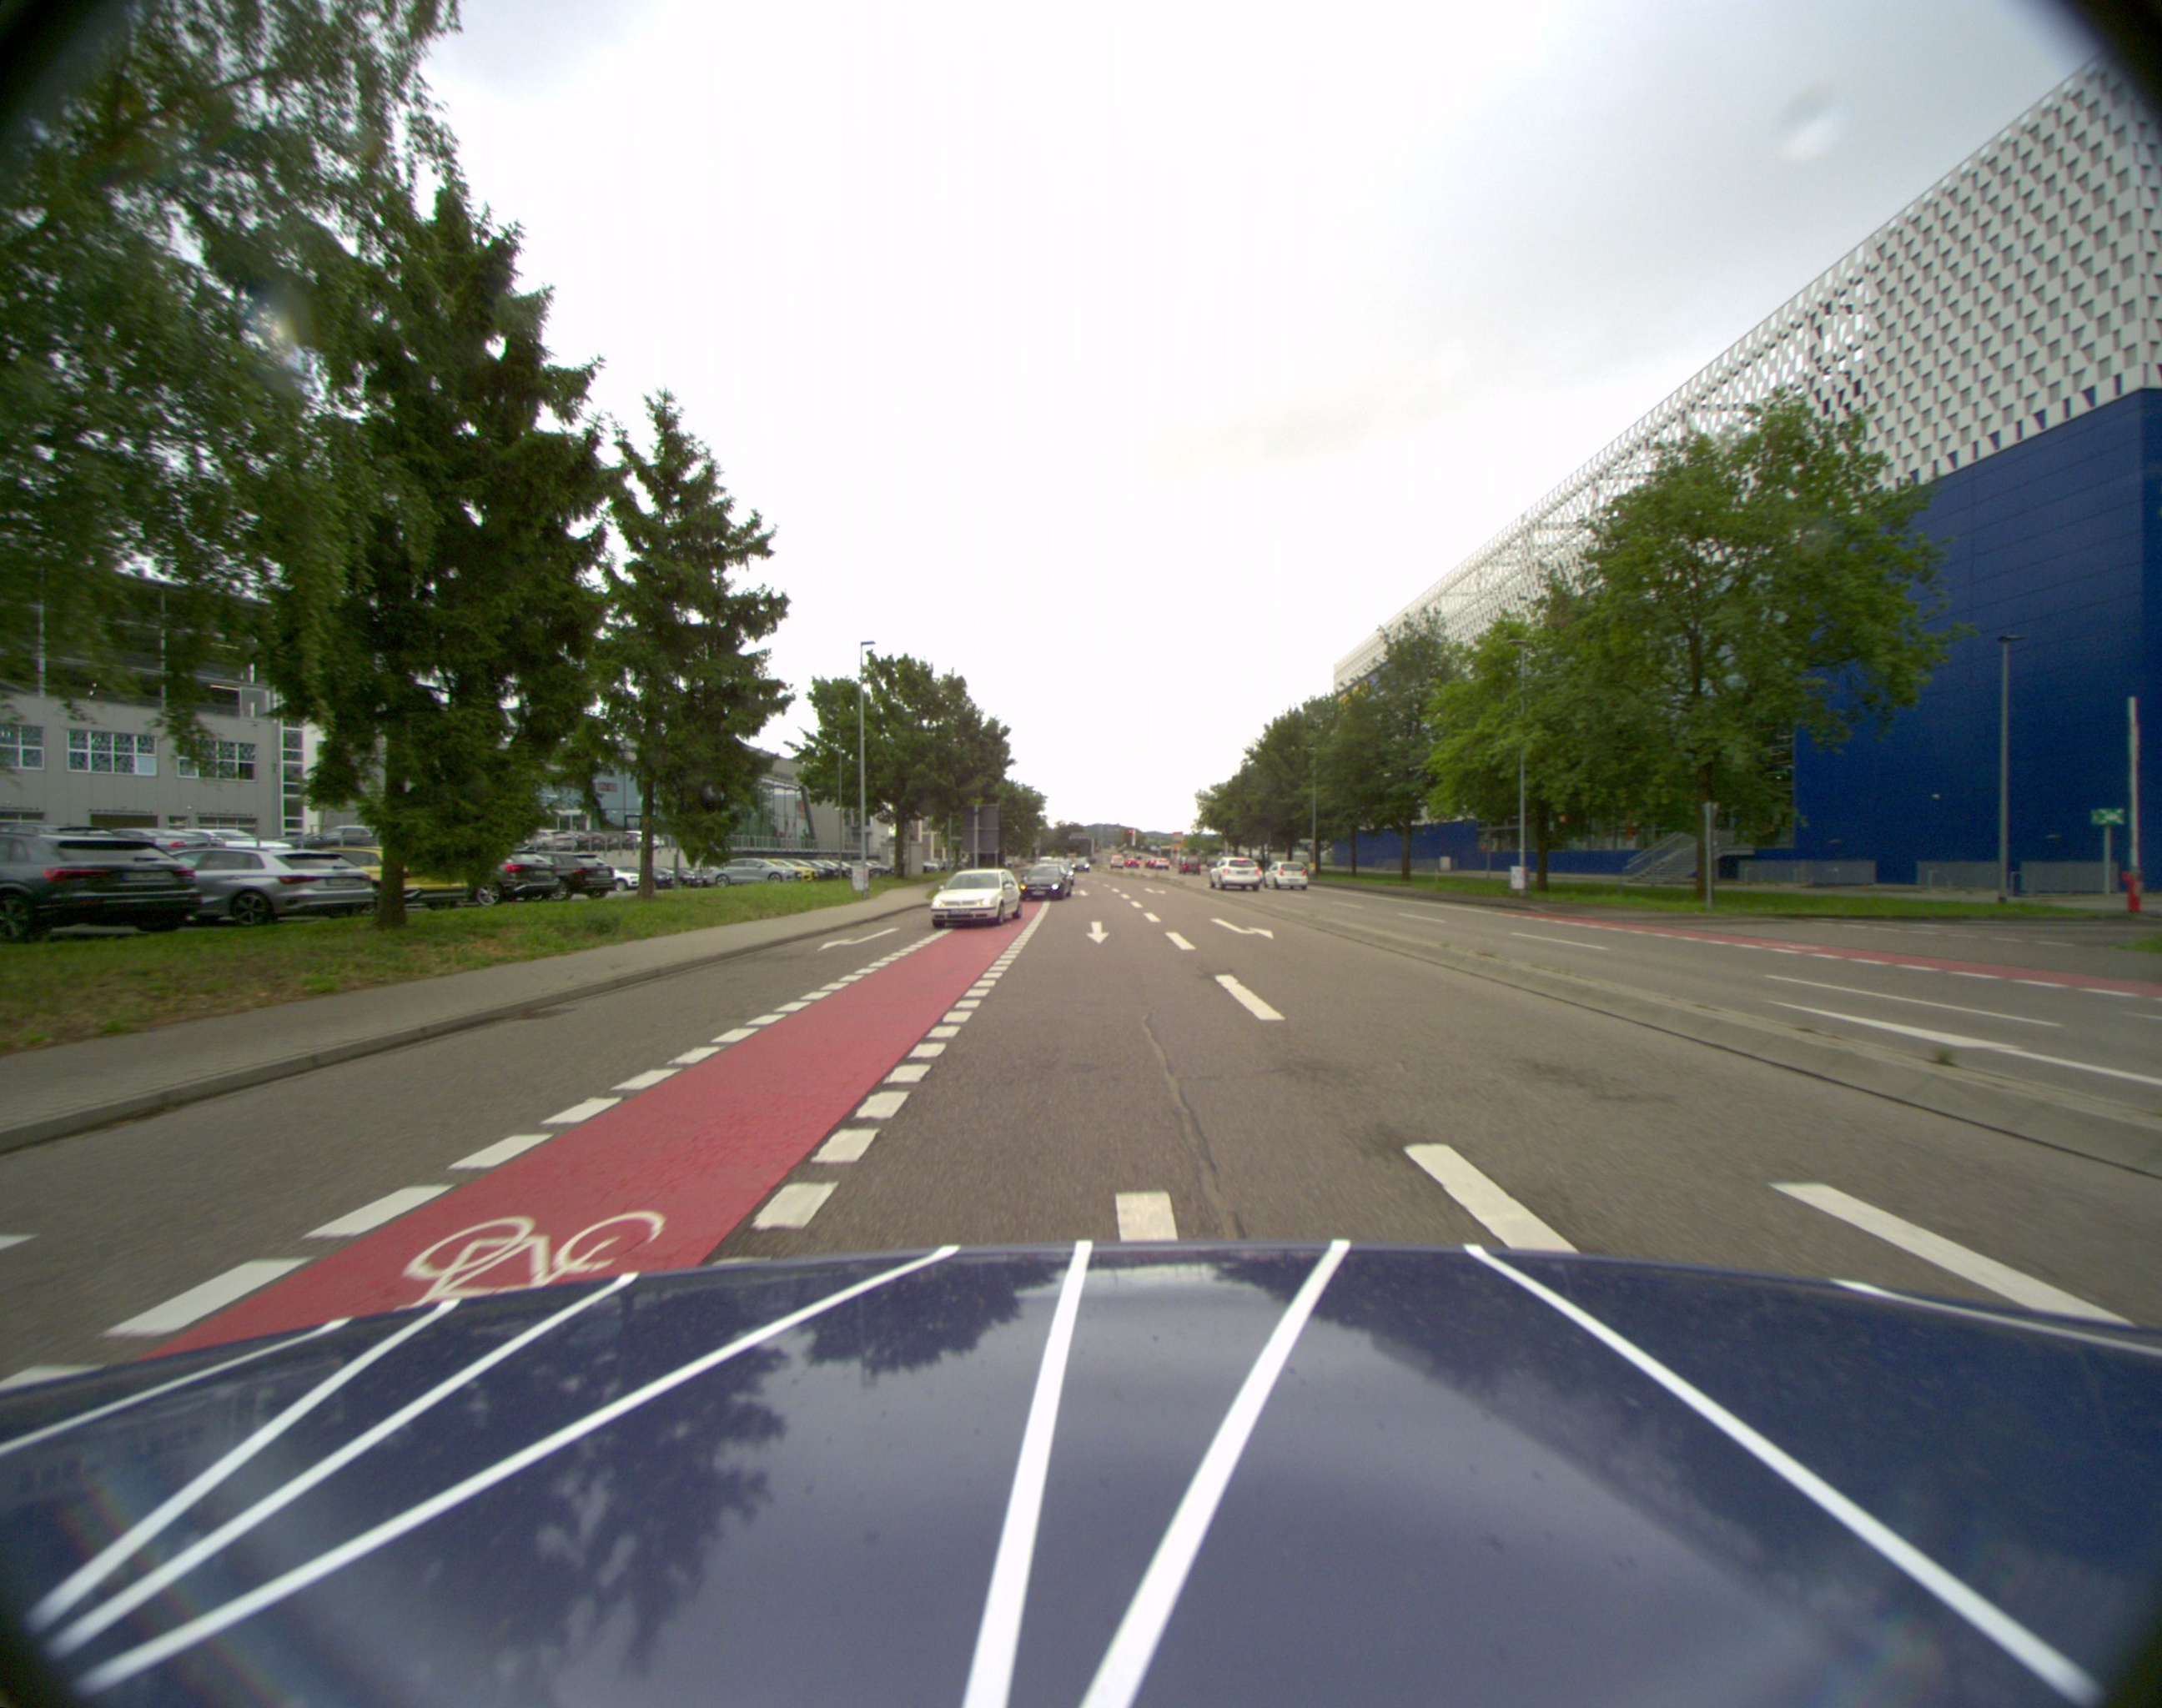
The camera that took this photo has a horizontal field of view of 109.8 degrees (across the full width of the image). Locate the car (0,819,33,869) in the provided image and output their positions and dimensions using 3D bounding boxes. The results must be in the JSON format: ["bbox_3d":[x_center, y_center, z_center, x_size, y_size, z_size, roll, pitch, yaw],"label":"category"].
[{"bbox_3d":[-32.522,-0.183,21.103,4.309,1.374,1.700,-3,0,-1],"label":"car"}]

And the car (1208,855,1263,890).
[{"bbox_3d":[7.711,0.893,38.343,1.822,1.577,4.513,2,0,0],"label":"car"}]

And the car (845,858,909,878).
[{"bbox_3d":[-15.633,1.039,58.342,4.308,1.309,1.864,-3,0,1],"label":"car"}]

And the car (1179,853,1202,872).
[{"bbox_3d":[11.587,0.864,80.758,1.771,1.913,4.909,1,0,0],"label":"car"}]

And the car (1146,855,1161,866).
[{"bbox_3d":[12.035,1.082,126.224,1.651,1.788,3.979,2,0,-5],"label":"car"}]

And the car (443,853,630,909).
[{"bbox_3d":[-15.587,0.747,21.898,4.002,1.345,1.902,-3,0,2],"label":"car"}]

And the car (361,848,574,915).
[{"bbox_3d":[-15.457,0.663,19.318,3.761,1.415,1.953,-3,0,0],"label":"car"}]

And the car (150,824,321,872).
[{"bbox_3d":[-32.067,-0.217,28.919,4.309,1.526,1.832,-3,0,-1],"label":"car"}]

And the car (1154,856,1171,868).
[{"bbox_3d":[11.783,1.147,109.999,1.728,1.602,3.979,2,0,-5],"label":"car"}]

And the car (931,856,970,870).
[{"bbox_3d":[-14.681,1.049,85.801,4.040,1.384,1.727,-3,0,1],"label":"car"}]

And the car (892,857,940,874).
[{"bbox_3d":[-15.279,1.049,70.402,4.040,1.384,1.727,-3,0,1],"label":"car"}]

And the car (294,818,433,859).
[{"bbox_3d":[-31.947,-0.671,33.922,4.309,1.518,1.859,-3,0,-1],"label":"car"}]

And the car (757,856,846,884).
[{"bbox_3d":[-15.815,0.908,43.097,4.308,1.350,1.739,-3,0,1],"label":"car"}]

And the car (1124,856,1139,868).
[{"bbox_3d":[7.874,1.282,119.318,1.651,1.788,3.979,2,0,-5],"label":"car"}]

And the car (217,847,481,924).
[{"bbox_3d":[-15.694,0.643,16.431,4.004,1.371,1.811,-3,0,3],"label":"car"}]

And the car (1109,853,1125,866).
[{"bbox_3d":[4.800,0.734,102.138,1.651,1.788,3.979,1,0,-6],"label":"car"}]

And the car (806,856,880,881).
[{"bbox_3d":[-15.889,0.977,50.844,4.308,1.436,1.844,-3,0,1],"label":"car"}]

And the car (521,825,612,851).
[{"bbox_3d":[-31.740,-0.984,46.980,4.309,1.355,1.832,-3,0,-1],"label":"car"}]

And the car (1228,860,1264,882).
[{"bbox_3d":[11.222,1.150,51.825,1.628,1.414,3.611,1,0,0],"label":"car"}]

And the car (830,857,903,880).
[{"bbox_3d":[-15.746,1.053,55.904,4.763,1.416,1.902,-3,0,1],"label":"car"}]

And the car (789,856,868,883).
[{"bbox_3d":[-15.965,0.949,48.241,4.308,1.436,1.844,-3,0,1],"label":"car"}]

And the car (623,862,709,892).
[{"bbox_3d":[-26.173,1.447,48.016,4.308,1.591,1.902,-3,0,1],"label":"car"}]

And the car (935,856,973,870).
[{"bbox_3d":[-14.707,1.046,88.384,4.040,1.384,1.727,-3,0,1],"label":"car"}]

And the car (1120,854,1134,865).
[{"bbox_3d":[7.797,0.944,128.634,1.651,1.788,3.979,2,0,-5],"label":"car"}]

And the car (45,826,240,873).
[{"bbox_3d":[-32.130,-0.147,26.113,4.309,1.364,1.832,-3,0,-1],"label":"car"}]

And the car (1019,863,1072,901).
[{"bbox_3d":[-1.432,1.137,31.992,1.836,1.415,4.001,-1,0,2],"label":"car"}]

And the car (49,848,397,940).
[{"bbox_3d":[-15.665,0.692,14.051,4.308,1.374,1.902,-3,0,2],"label":"car"}]

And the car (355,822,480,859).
[{"bbox_3d":[-31.960,-0.653,36.693,4.309,1.516,1.832,-3,0,-1],"label":"car"}]

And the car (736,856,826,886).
[{"bbox_3d":[-16.054,0.912,40.827,4.055,1.369,1.795,-3,0,2],"label":"car"}]

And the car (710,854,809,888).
[{"bbox_3d":[-16.180,0.844,38.406,4.198,1.423,1.739,-3,0,1],"label":"car"}]

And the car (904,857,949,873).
[{"bbox_3d":[-15.297,1.057,75.276,4.040,1.384,1.727,-3,0,1],"label":"car"}]

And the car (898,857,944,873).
[{"bbox_3d":[-15.331,1.051,72.934,4.040,1.384,1.727,-3,0,1],"label":"car"}]

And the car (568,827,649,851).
[{"bbox_3d":[-32.414,-1.031,52.234,4.309,1.355,1.832,-3,0,-1],"label":"car"}]

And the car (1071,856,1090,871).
[{"bbox_3d":[-0.019,0.956,77.313,1.836,1.415,4.000,-1,0,1],"label":"car"}]

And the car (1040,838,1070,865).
[{"bbox_3d":[-1.721,-0.144,48.990,1.788,1.637,3.998,0,0,-5],"label":"car"}]

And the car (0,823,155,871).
[{"bbox_3d":[-32.393,-0.206,23.845,4.309,1.240,1.832,-3,0,-1],"label":"car"}]

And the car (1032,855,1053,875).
[{"bbox_3d":[-3.759,1.053,74.403,1.995,1.838,4.103,0,0,-2],"label":"car"}]

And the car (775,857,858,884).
[{"bbox_3d":[-15.916,0.961,45.889,4.308,1.370,1.838,-3,0,1],"label":"car"}]

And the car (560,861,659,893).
[{"bbox_3d":[-26.442,1.281,42.718,4.308,1.592,1.902,-2,0,1],"label":"car"}]

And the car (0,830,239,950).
[{"bbox_3d":[-15.978,0.583,11.491,4.308,1.591,1.969,-3,0,2],"label":"car"}]

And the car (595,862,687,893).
[{"bbox_3d":[-26.296,1.372,45.493,4.308,1.591,1.902,-3,0,1],"label":"car"}]

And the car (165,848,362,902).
[{"bbox_3d":[-26.379,0.680,24.640,4.308,1.616,1.903,-1,-2,0],"label":"car"}]

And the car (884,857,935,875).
[{"bbox_3d":[-15.326,1.051,67.984,4.040,1.384,1.727,-3,0,1],"label":"car"}]

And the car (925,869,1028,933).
[{"bbox_3d":[-2.646,1.165,20.161,1.725,1.416,3.943,-1,0,7],"label":"car"}]

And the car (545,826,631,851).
[{"bbox_3d":[-32.215,-0.998,49.725,4.309,1.355,1.832,-3,0,-1],"label":"car"}]

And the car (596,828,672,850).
[{"bbox_3d":[-32.305,-1.084,55.011,4.309,1.355,1.832,-3,0,-1],"label":"car"}]

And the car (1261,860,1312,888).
[{"bbox_3d":[11.071,1.051,41.174,1.681,1.420,3.650,1,0,-2],"label":"car"}]
